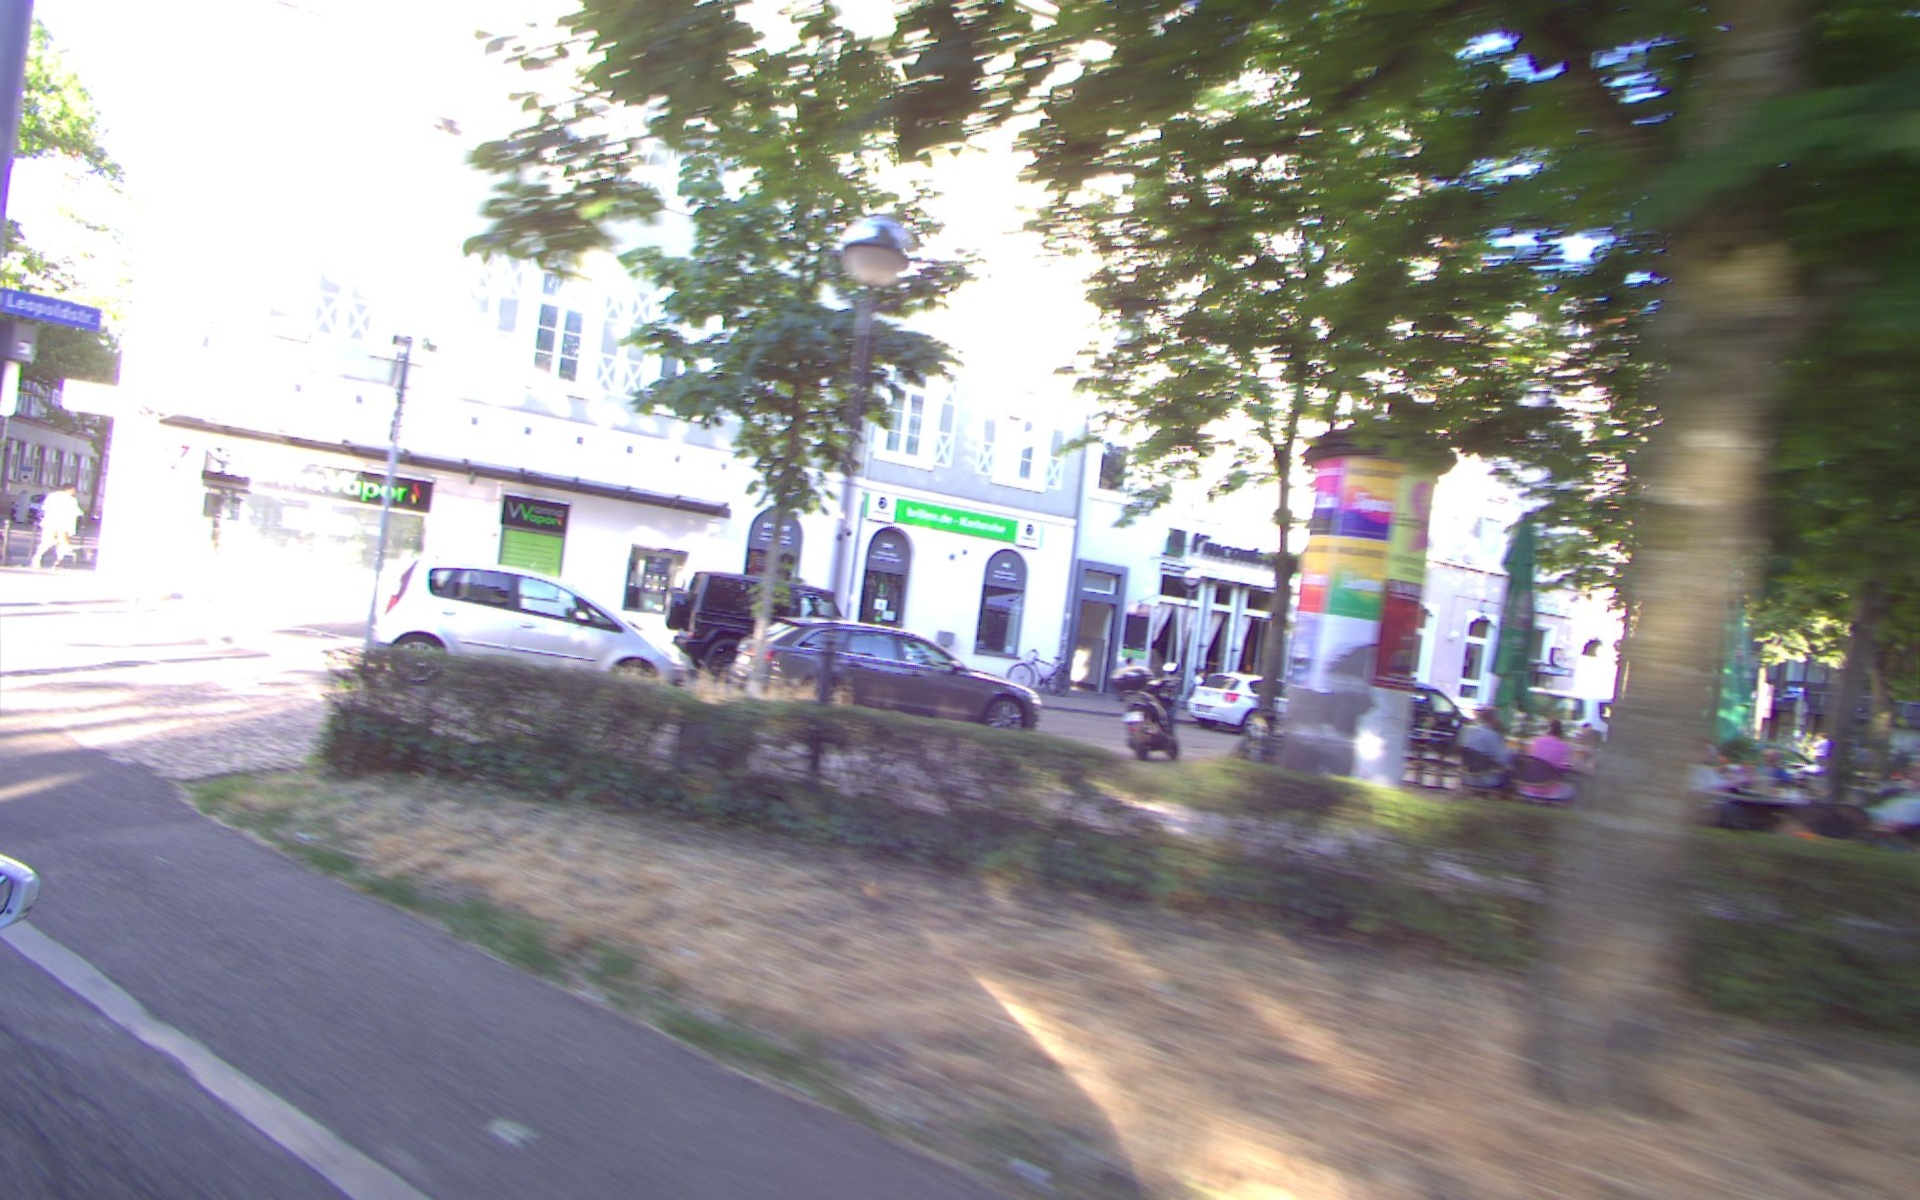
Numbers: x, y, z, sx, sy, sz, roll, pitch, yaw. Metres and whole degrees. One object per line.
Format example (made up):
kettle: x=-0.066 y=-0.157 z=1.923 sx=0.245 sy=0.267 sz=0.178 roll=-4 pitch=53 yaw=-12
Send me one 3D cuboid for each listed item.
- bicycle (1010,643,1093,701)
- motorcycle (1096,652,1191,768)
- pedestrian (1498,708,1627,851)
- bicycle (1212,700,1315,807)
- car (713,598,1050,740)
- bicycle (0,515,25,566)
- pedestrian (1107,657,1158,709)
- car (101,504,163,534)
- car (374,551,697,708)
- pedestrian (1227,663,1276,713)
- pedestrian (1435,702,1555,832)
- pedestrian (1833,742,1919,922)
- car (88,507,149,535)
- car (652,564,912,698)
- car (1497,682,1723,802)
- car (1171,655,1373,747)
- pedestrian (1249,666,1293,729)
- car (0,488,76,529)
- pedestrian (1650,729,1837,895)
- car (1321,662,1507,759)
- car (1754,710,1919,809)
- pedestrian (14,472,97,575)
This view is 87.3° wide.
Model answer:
bicycle: x=2.408 y=1.884 z=26.345 sx=1.963 sy=1.260 sz=0.683 roll=8 pitch=0 yaw=-25
motorcycle: x=2.647 y=1.532 z=14.262 sx=0.934 sy=1.383 sz=2.247 roll=7 pitch=-3 yaw=17
pedestrian: x=6.341 y=1.885 z=10.595 sx=0.944 sy=1.297 sz=0.657 roll=12 pitch=-3 yaw=-32
bicycle: x=3.322 y=1.660 z=11.146 sx=0.545 sy=0.940 sz=1.530 roll=7 pitch=-1 yaw=-1
car: x=-1.150 y=1.052 z=15.095 sx=4.615 sy=1.532 sz=1.729 roll=8 pitch=-1 yaw=-25
bicycle: x=-20.934 y=-1.296 z=21.845 sx=0.351 sy=1.089 sz=1.688 roll=7 pitch=-1 yaw=-26
pedestrian: x=4.690 y=2.262 z=27.378 sx=1.014 sy=1.260 sz=0.683 roll=7 pitch=0 yaw=-24
car: x=-60.329 y=-5.849 z=73.354 sx=1.927 sy=1.659 sz=4.884 roll=8 pitch=-2 yaw=-22
car: x=-5.451 y=0.399 z=13.160 sx=3.533 sy=1.532 sz=1.729 roll=8 pitch=-1 yaw=-25
pedestrian: x=8.296 y=2.506 z=28.660 sx=1.014 sy=1.260 sz=0.683 roll=7 pitch=0 yaw=-24
pedestrian: x=6.040 y=1.886 z=11.363 sx=0.944 sy=1.255 sz=0.657 roll=12 pitch=-3 yaw=-32
pedestrian: x=7.380 y=1.791 z=7.802 sx=0.560 sy=1.259 sz=0.611 roll=7 pitch=0 yaw=-14
car: x=-57.181 y=-5.325 z=68.429 sx=1.945 sy=1.429 sz=4.816 roll=8 pitch=-1 yaw=-26
car: x=-3.453 y=0.599 z=19.563 sx=4.456 sy=1.987 sz=2.012 roll=8 pitch=-1 yaw=-25
car: x=14.462 y=3.162 z=22.384 sx=4.379 sy=2.037 sz=1.990 roll=8 pitch=-1 yaw=-23
car: x=7.703 y=2.491 z=24.849 sx=4.457 sy=1.636 sz=2.012 roll=8 pitch=-2 yaw=-25
pedestrian: x=8.525 y=2.666 z=27.616 sx=0.726 sy=1.588 sz=0.683 roll=7 pitch=0 yaw=-24
car: x=-51.923 y=-5.113 z=56.370 sx=1.945 sy=1.657 sz=4.787 roll=11 pitch=-2 yaw=-23
pedestrian: x=7.027 y=1.887 z=9.054 sx=0.771 sy=1.257 sz=0.982 roll=8 pitch=-1 yaw=-27
car: x=12.240 y=2.993 z=27.138 sx=4.457 sy=1.986 sz=2.012 roll=8 pitch=-2 yaw=-25
car: x=23.361 y=4.206 z=26.395 sx=4.379 sy=2.037 sz=1.990 roll=8 pitch=-1 yaw=-23
pedestrian: x=-19.491 y=-1.626 z=21.704 sx=0.830 sy=2.037 sz=0.844 roll=7 pitch=-1 yaw=-14
